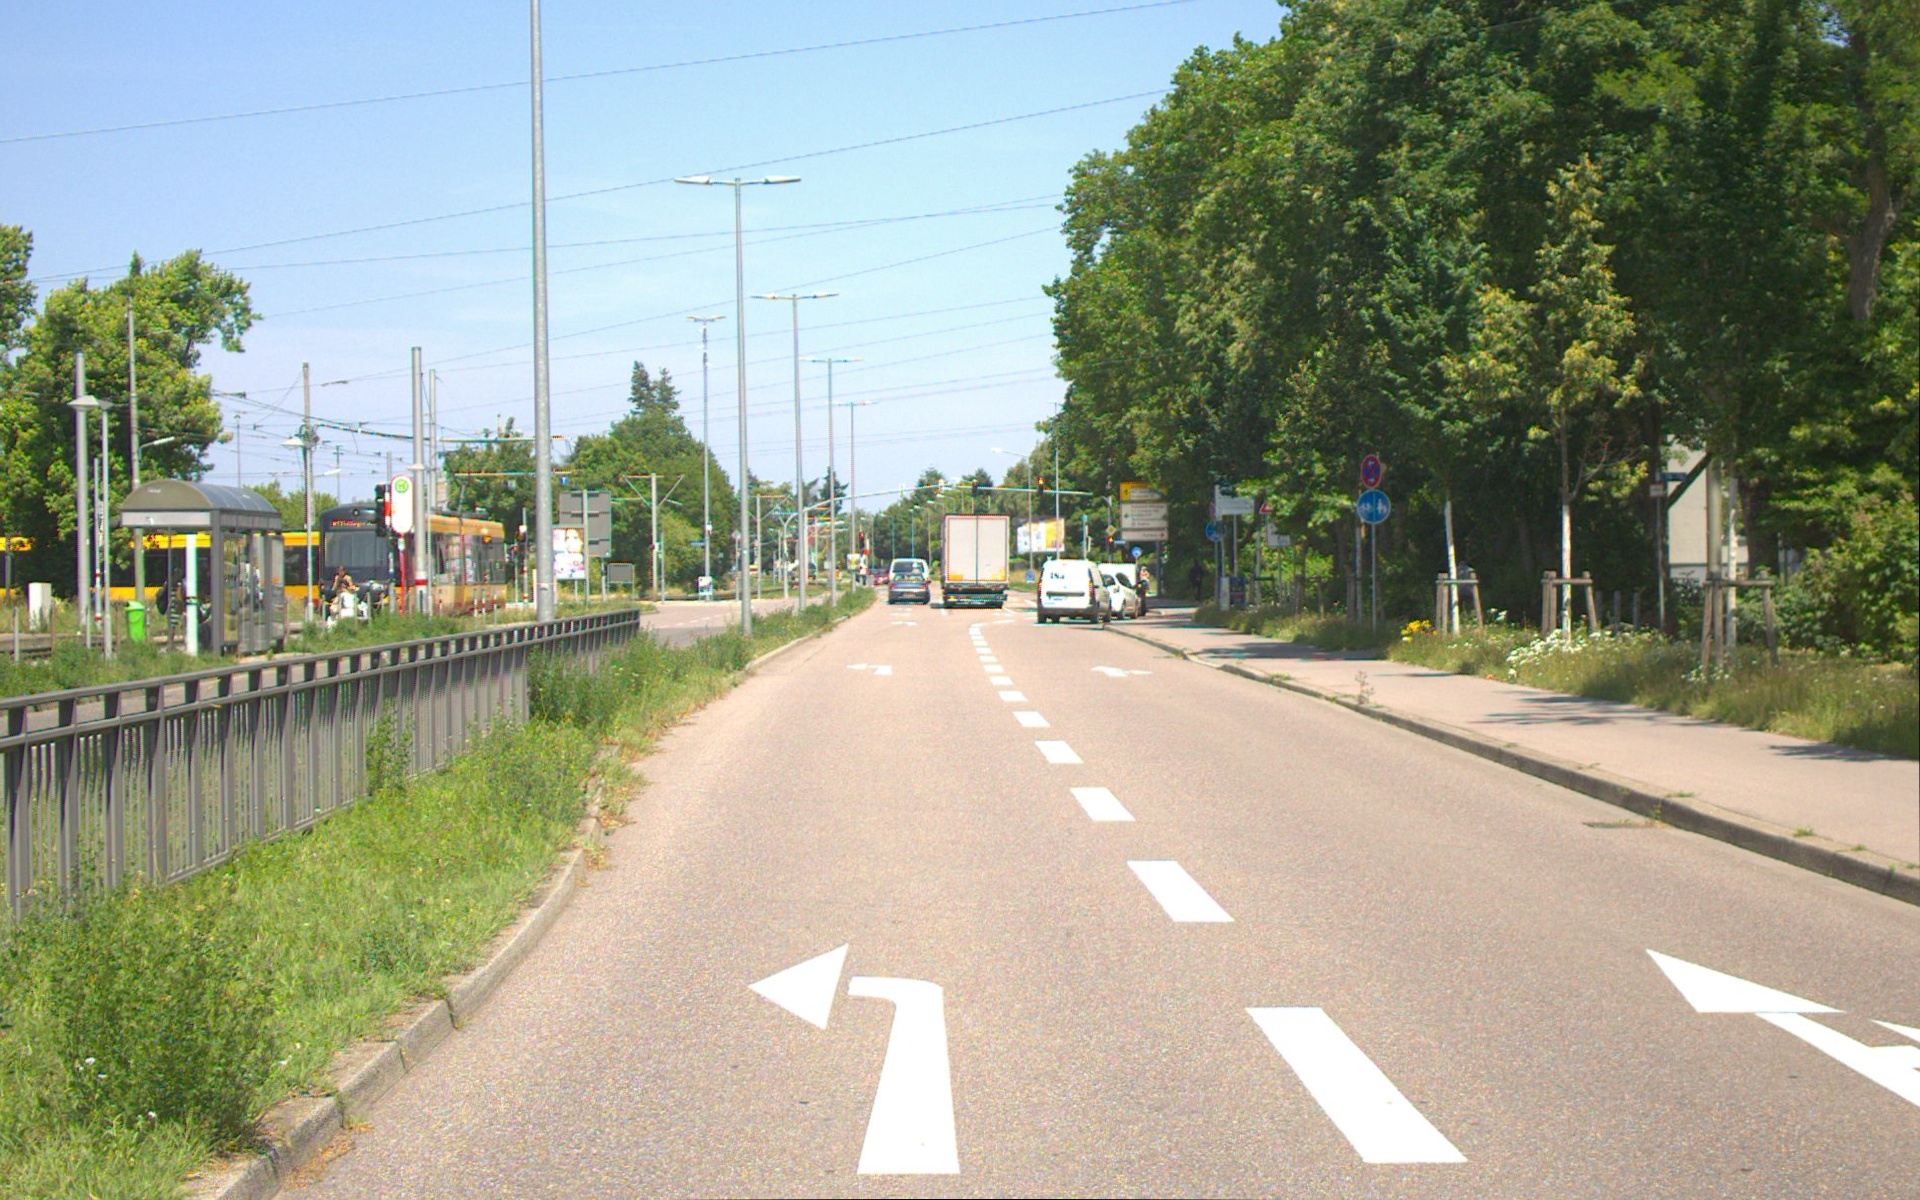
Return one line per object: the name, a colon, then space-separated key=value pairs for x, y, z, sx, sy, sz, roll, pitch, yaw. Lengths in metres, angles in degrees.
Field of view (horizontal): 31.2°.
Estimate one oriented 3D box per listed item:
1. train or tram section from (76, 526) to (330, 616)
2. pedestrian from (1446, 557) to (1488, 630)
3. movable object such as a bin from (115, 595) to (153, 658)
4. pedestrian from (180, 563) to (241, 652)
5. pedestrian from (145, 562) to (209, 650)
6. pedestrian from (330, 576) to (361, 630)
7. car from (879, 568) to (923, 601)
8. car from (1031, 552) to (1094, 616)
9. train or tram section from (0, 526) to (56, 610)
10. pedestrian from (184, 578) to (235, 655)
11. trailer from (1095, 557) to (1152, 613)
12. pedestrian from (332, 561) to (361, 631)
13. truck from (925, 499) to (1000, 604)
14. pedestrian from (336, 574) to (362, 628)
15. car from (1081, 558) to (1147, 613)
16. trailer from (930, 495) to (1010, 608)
train or tram section: x=-30.813 y=-1.232 z=139.447 sx=12.739 sy=3.454 sz=3.039 roll=1 pitch=1 yaw=41
pedestrian: x=9.894 y=-0.130 z=67.106 sx=0.708 sy=1.393 sz=0.763 roll=1 pitch=1 yaw=1
movable object such as a bin: x=-13.144 y=0.417 z=54.715 sx=0.481 sy=0.974 sz=0.645 roll=-1 pitch=0 yaw=-5
pedestrian: x=-13.089 y=0.124 z=60.068 sx=0.874 sy=1.541 sz=1.026 roll=1 pitch=1 yaw=-3
pedestrian: x=-13.932 y=0.097 z=61.182 sx=0.930 sy=1.541 sz=0.985 roll=1 pitch=1 yaw=-3
pedestrian: x=-13.584 y=0.057 z=76.013 sx=0.580 sy=1.185 sz=0.536 roll=1 pitch=1 yaw=-3
car: x=-2.589 y=-0.693 z=150.460 sx=1.892 sy=1.367 sz=4.430 roll=2 pitch=1 yaw=-1
car: x=2.930 y=-0.475 z=97.924 sx=1.709 sy=1.741 sz=4.427 roll=1 pitch=1 yaw=2
train or tram section: x=-44.629 y=-1.413 z=143.514 sx=13.218 sy=3.454 sz=3.047 roll=1 pitch=1 yaw=-15
pedestrian: x=-12.749 y=0.276 z=58.424 sx=0.701 sy=1.279 sz=0.840 roll=1 pitch=1 yaw=-3
trailer: x=4.938 y=-0.461 z=103.980 sx=1.468 sy=1.663 sz=2.856 roll=1 pitch=1 yaw=-2
pedestrian: x=-13.811 y=-0.098 z=77.406 sx=0.534 sy=1.560 sz=0.582 roll=1 pitch=1 yaw=-2
truck: x=0.066 y=-2.110 z=147.863 sx=2.827 sy=4.329 sz=8.285 roll=1 pitch=1 yaw=-2
pedestrian: x=-13.587 y=0.021 z=76.504 sx=0.494 sy=1.185 sz=0.400 roll=1 pitch=1 yaw=-1
car: x=4.799 y=-0.465 z=107.623 sx=1.699 sy=1.648 sz=4.399 roll=1 pitch=1 yaw=-2
trailer: x=0.364 y=-1.952 z=139.309 sx=2.827 sy=4.406 sz=8.750 roll=1 pitch=1 yaw=-2
